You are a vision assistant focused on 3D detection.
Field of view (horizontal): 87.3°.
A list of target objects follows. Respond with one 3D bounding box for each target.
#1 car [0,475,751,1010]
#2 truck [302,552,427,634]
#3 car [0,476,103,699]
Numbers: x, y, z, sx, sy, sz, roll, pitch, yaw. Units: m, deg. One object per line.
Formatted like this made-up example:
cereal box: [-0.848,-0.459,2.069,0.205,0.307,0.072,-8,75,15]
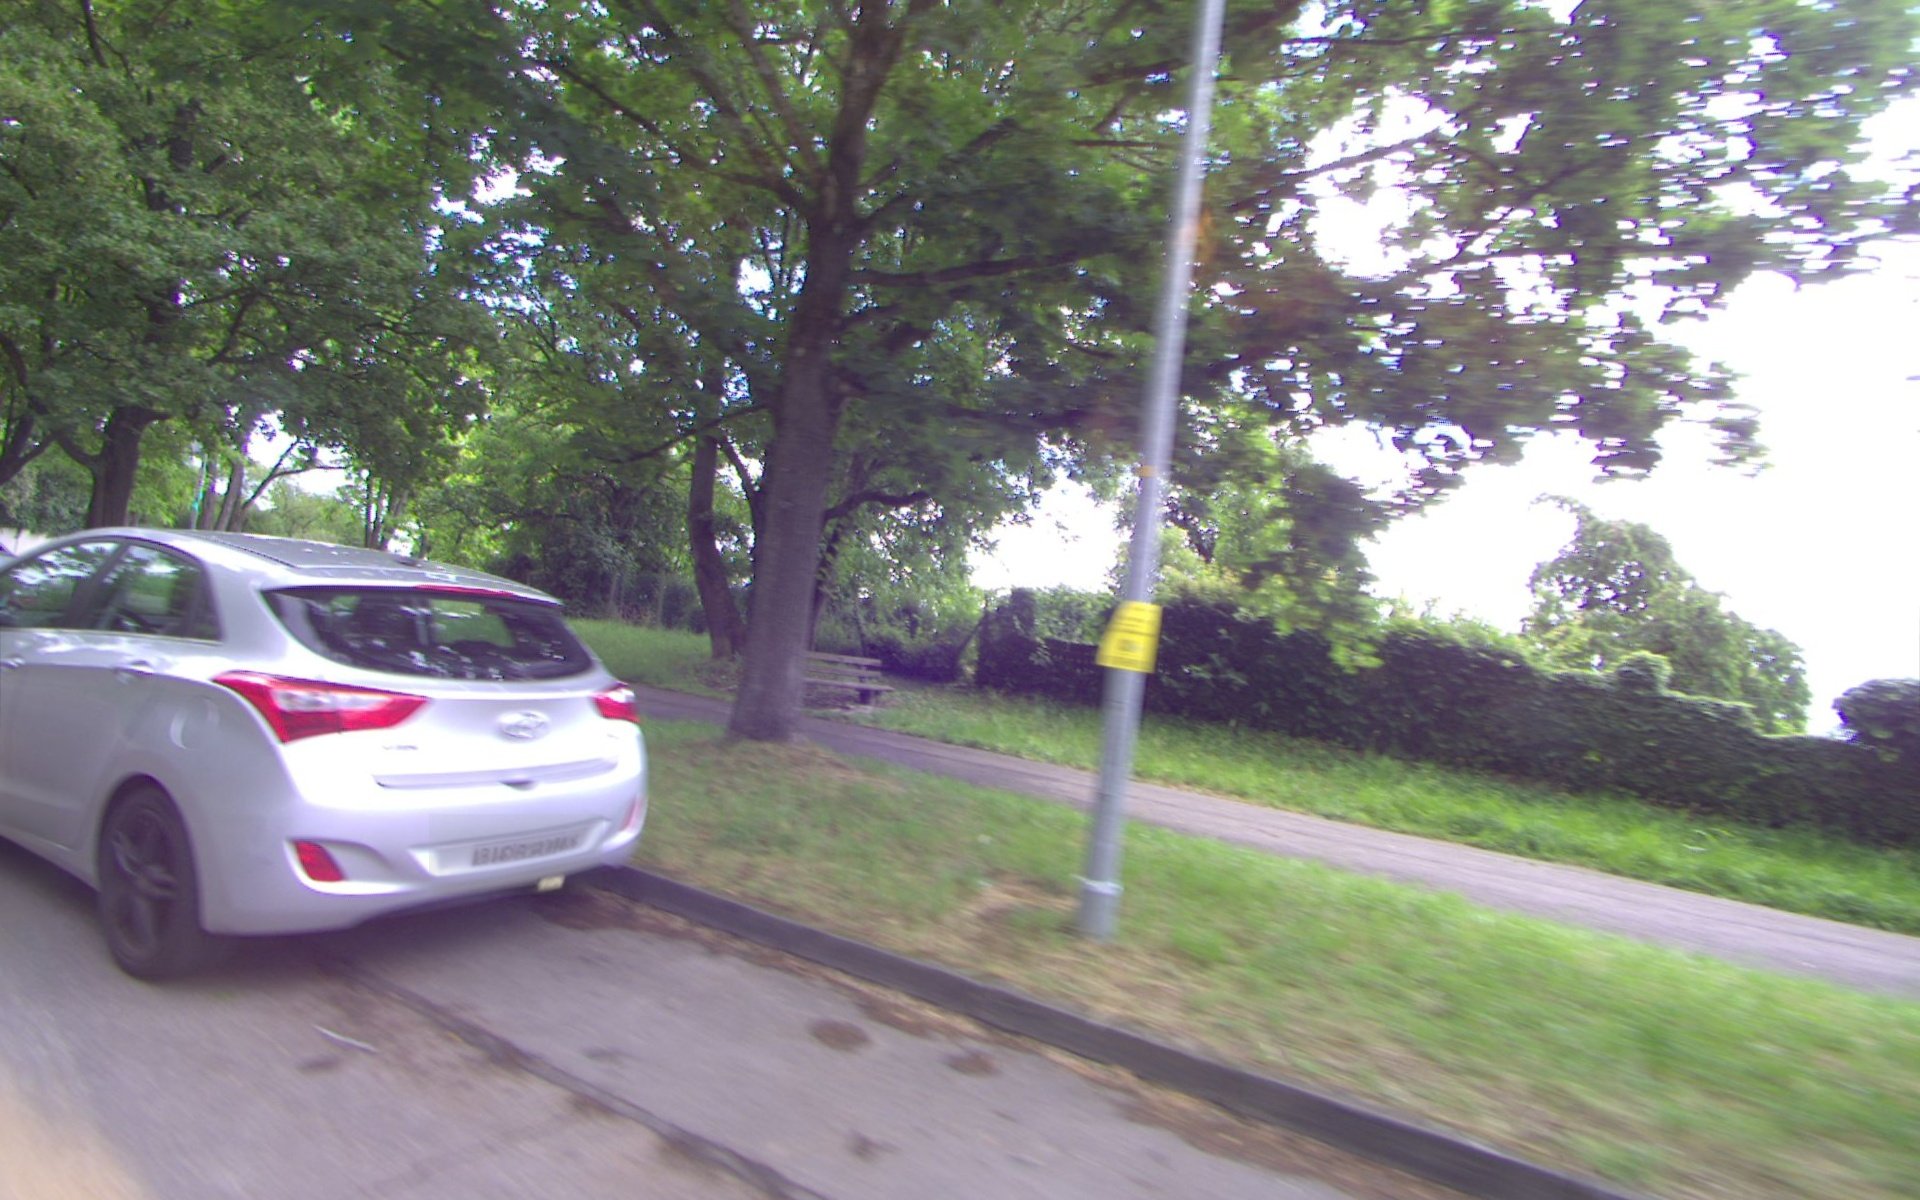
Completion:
car: [-3.206,0.378,4.612,3.989,1.492,1.908,4,-4,28]
truck: [-35.448,-0.249,60.416,2.651,4.040,9.572,7,-4,-8]
car: [-8.842,-0.327,7.622,4.552,1.543,1.746,6,-1,25]
